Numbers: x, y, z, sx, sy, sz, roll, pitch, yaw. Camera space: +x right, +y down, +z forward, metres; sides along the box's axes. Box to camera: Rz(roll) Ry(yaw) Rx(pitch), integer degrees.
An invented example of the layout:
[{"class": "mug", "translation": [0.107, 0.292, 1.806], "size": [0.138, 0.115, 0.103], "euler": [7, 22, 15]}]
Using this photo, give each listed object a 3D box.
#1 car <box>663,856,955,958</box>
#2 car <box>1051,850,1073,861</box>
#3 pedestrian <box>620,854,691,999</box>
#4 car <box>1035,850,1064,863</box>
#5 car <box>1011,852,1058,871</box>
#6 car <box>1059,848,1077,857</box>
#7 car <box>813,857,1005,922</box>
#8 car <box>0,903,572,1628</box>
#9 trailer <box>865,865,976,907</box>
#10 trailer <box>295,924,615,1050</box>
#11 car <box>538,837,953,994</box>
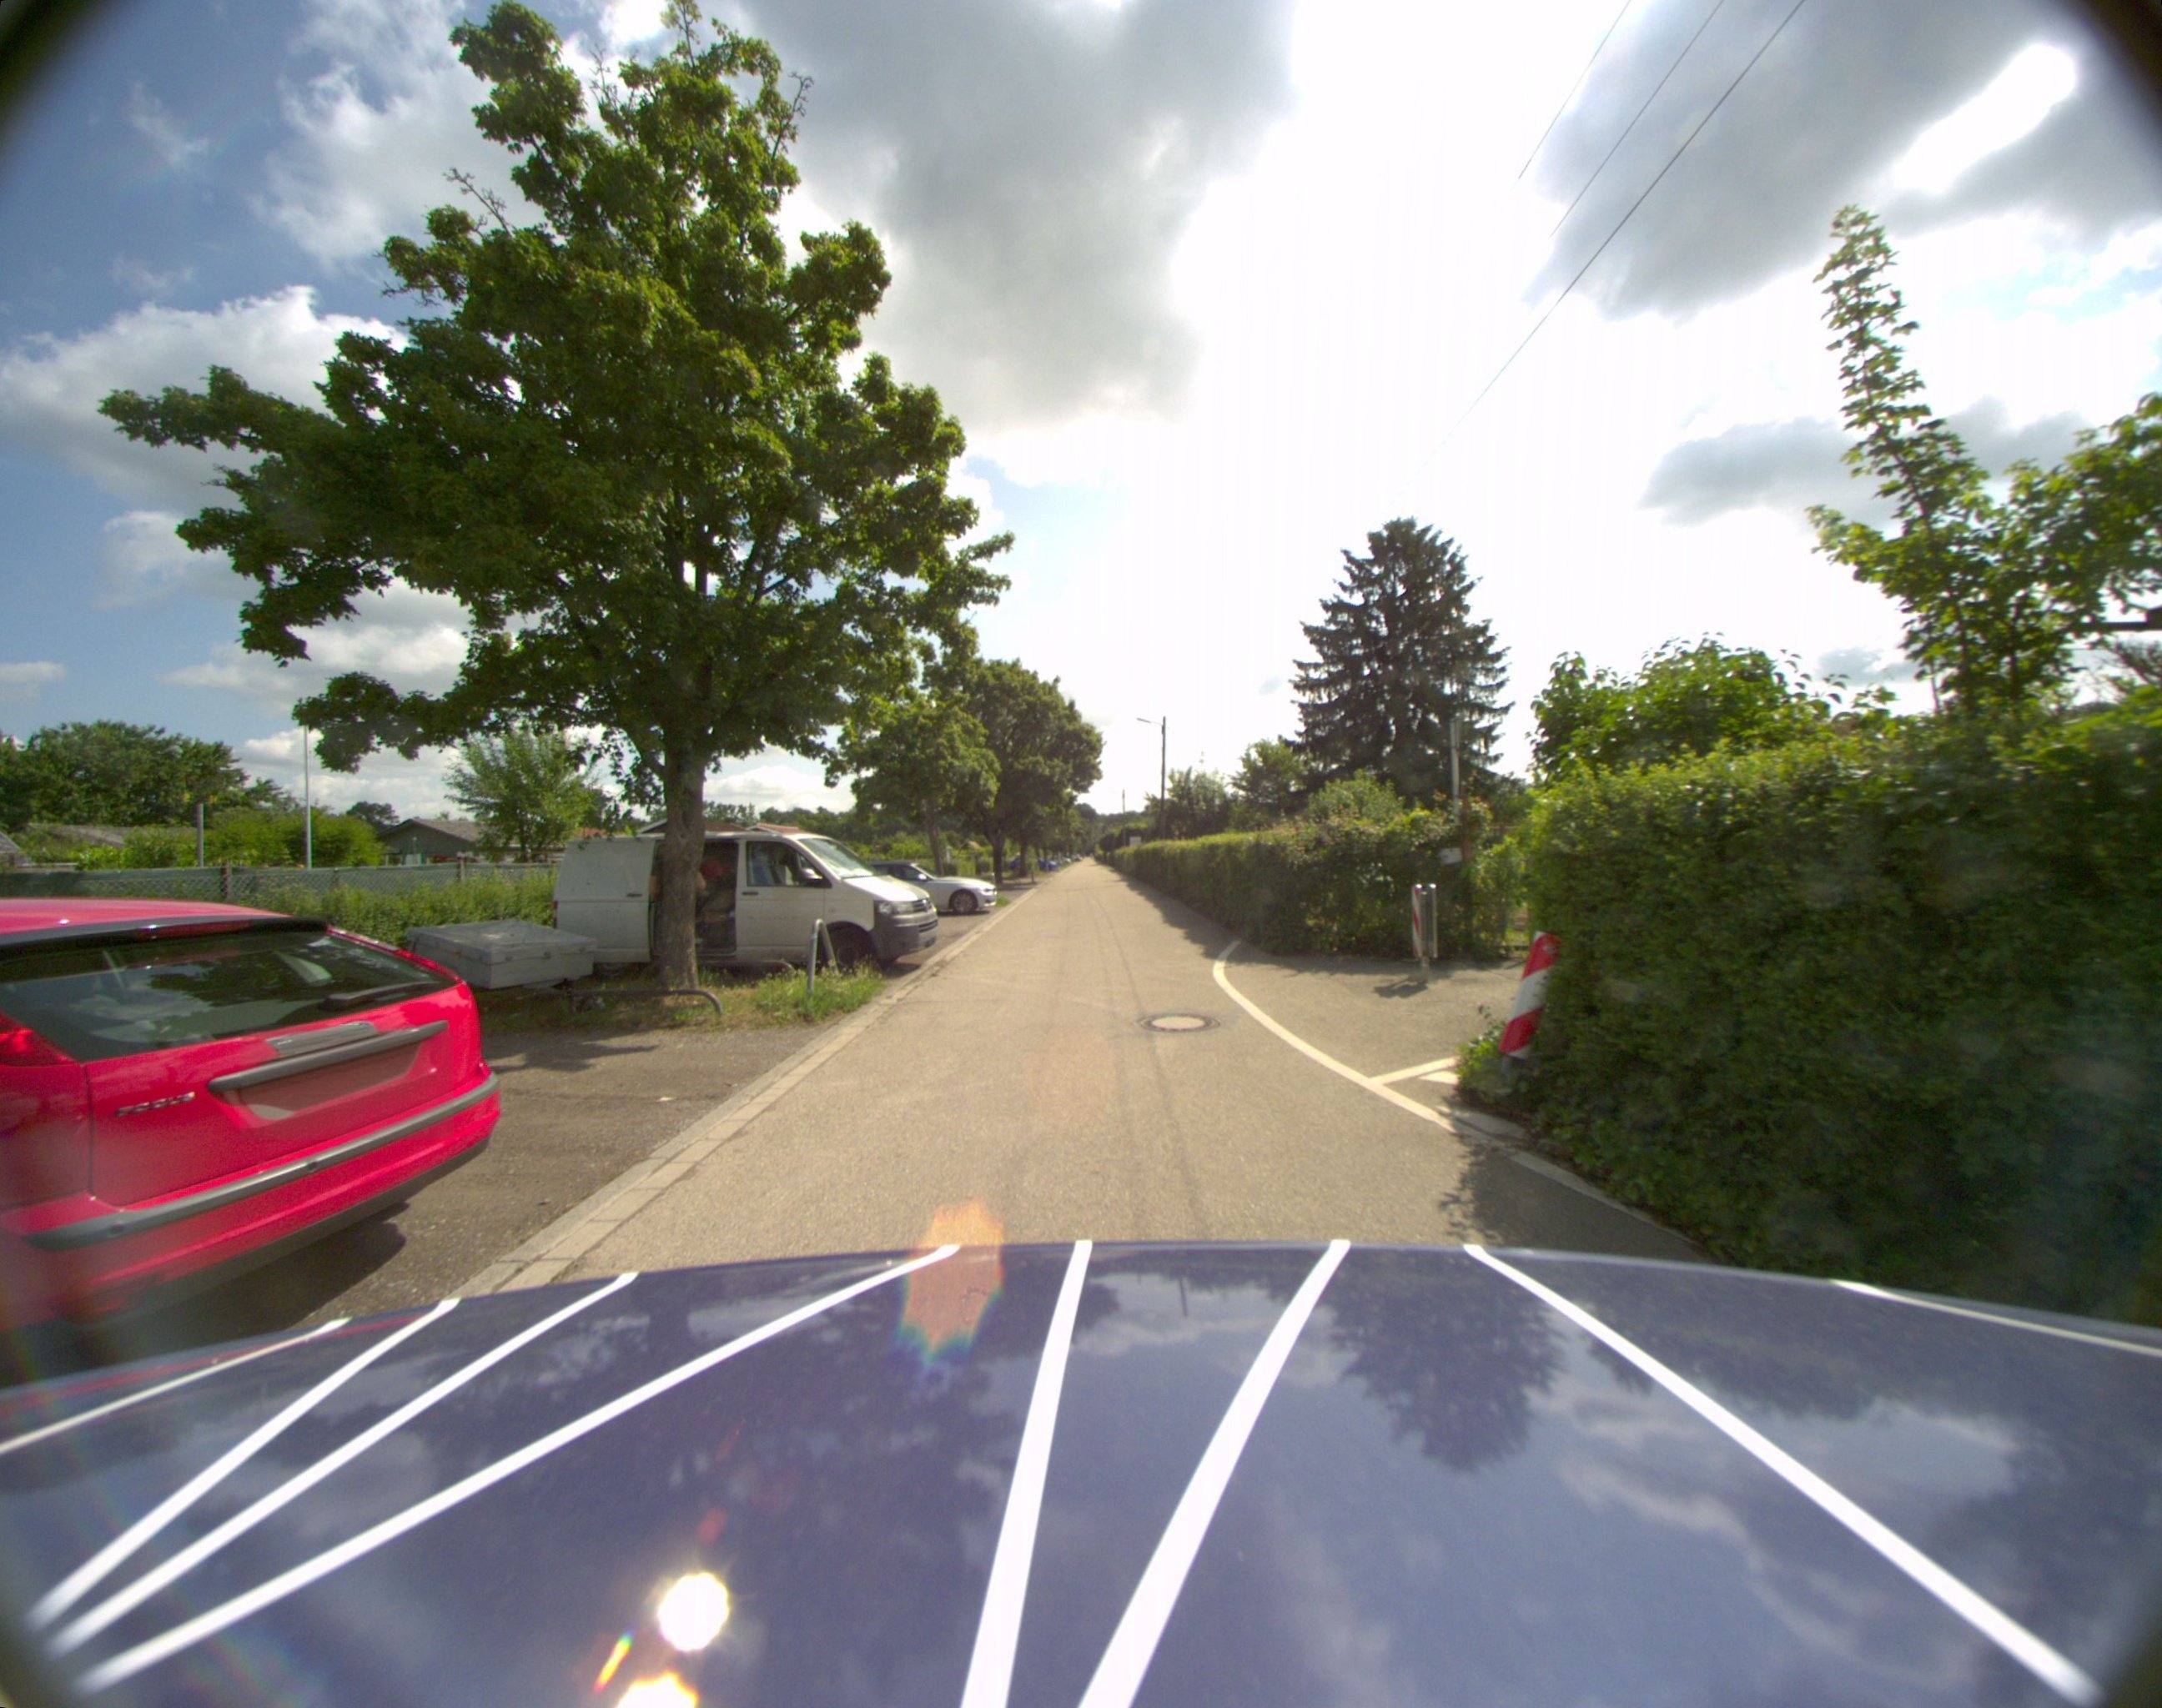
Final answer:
[{"class": "car", "translation": [-4.485, 0.845, 13.048], "size": [4.254, 1.583, 2.000], "euler": [0, 1, 1]}, {"class": "car", "translation": [-3.431, 0.201, 137.341], "size": [3.929, 1.740, 2.000], "euler": [-3, 1, 0]}, {"class": "pedestrian", "translation": [-5.030, 0.841, 9.014], "size": [0.524, 1.664, 0.474], "euler": [0, 2, 1]}, {"class": "car", "translation": [-4.530, 0.333, 108.735], "size": [3.929, 1.740, 2.000], "euler": [-3, 1, 0]}, {"class": "car", "translation": [-4.186, 0.670, 68.703], "size": [4.116, 1.573, 1.780], "euler": [-1, 0, -1]}, {"class": "car", "translation": [-2.845, -0.272, 165.723], "size": [3.998, 1.824, 1.999], "euler": [-3, 1, -3]}, {"class": "car", "translation": [-4.380, 0.876, 20.005], "size": [4.590, 1.457, 1.999], "euler": [-2, 1, -3]}, {"class": "car", "translation": [-4.538, 1.088, 2.658], "size": [4.193, 1.496, 1.878], "euler": [-3, 1, 2]}, {"class": "trailer", "translation": [-5.144, 1.016, 24.750], "size": [3.108, 1.136, 2.000], "euler": [-3, 1, 1]}, {"class": "trailer", "translation": [-6.621, 1.289, 8.029], "size": [3.059, 0.872, 1.562], "euler": [-1, 1, 29]}, {"class": "car", "translation": [-4.244, 0.740, 10.298], "size": [4.646, 1.875, 2.111], "euler": [-1, 1, -1]}]
